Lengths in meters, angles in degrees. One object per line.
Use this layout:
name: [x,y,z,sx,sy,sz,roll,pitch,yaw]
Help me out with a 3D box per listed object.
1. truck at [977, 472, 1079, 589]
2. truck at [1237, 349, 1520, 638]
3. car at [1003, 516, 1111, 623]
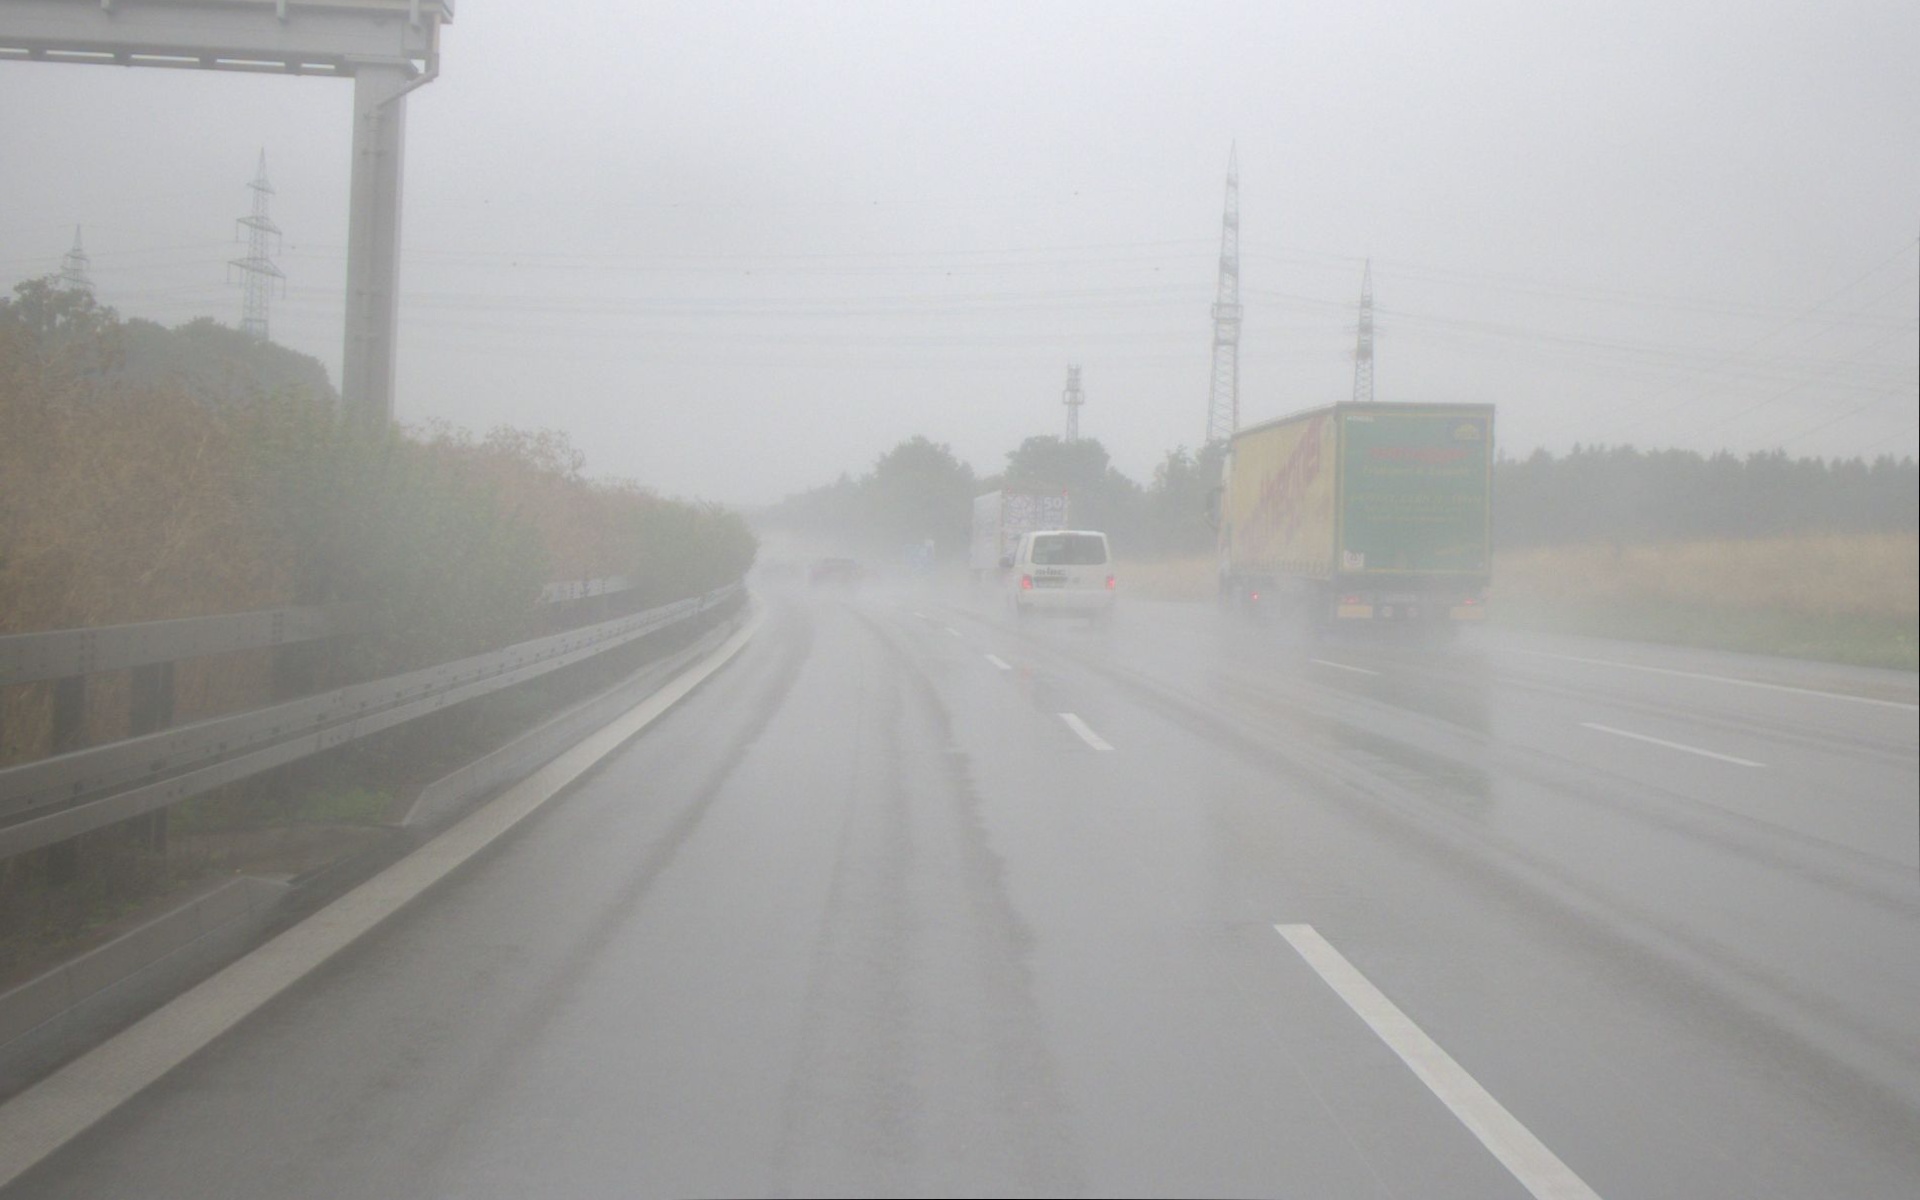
truck: [2.538,-2.665,131.573,3.232,4.296,8.838,0,1,-3]
truck: [7.378,-1.830,63.364,4.189,4.614,16.104,1,1,4]
car: [1.934,-0.631,67.575,1.994,2.007,4.000,1,1,3]
